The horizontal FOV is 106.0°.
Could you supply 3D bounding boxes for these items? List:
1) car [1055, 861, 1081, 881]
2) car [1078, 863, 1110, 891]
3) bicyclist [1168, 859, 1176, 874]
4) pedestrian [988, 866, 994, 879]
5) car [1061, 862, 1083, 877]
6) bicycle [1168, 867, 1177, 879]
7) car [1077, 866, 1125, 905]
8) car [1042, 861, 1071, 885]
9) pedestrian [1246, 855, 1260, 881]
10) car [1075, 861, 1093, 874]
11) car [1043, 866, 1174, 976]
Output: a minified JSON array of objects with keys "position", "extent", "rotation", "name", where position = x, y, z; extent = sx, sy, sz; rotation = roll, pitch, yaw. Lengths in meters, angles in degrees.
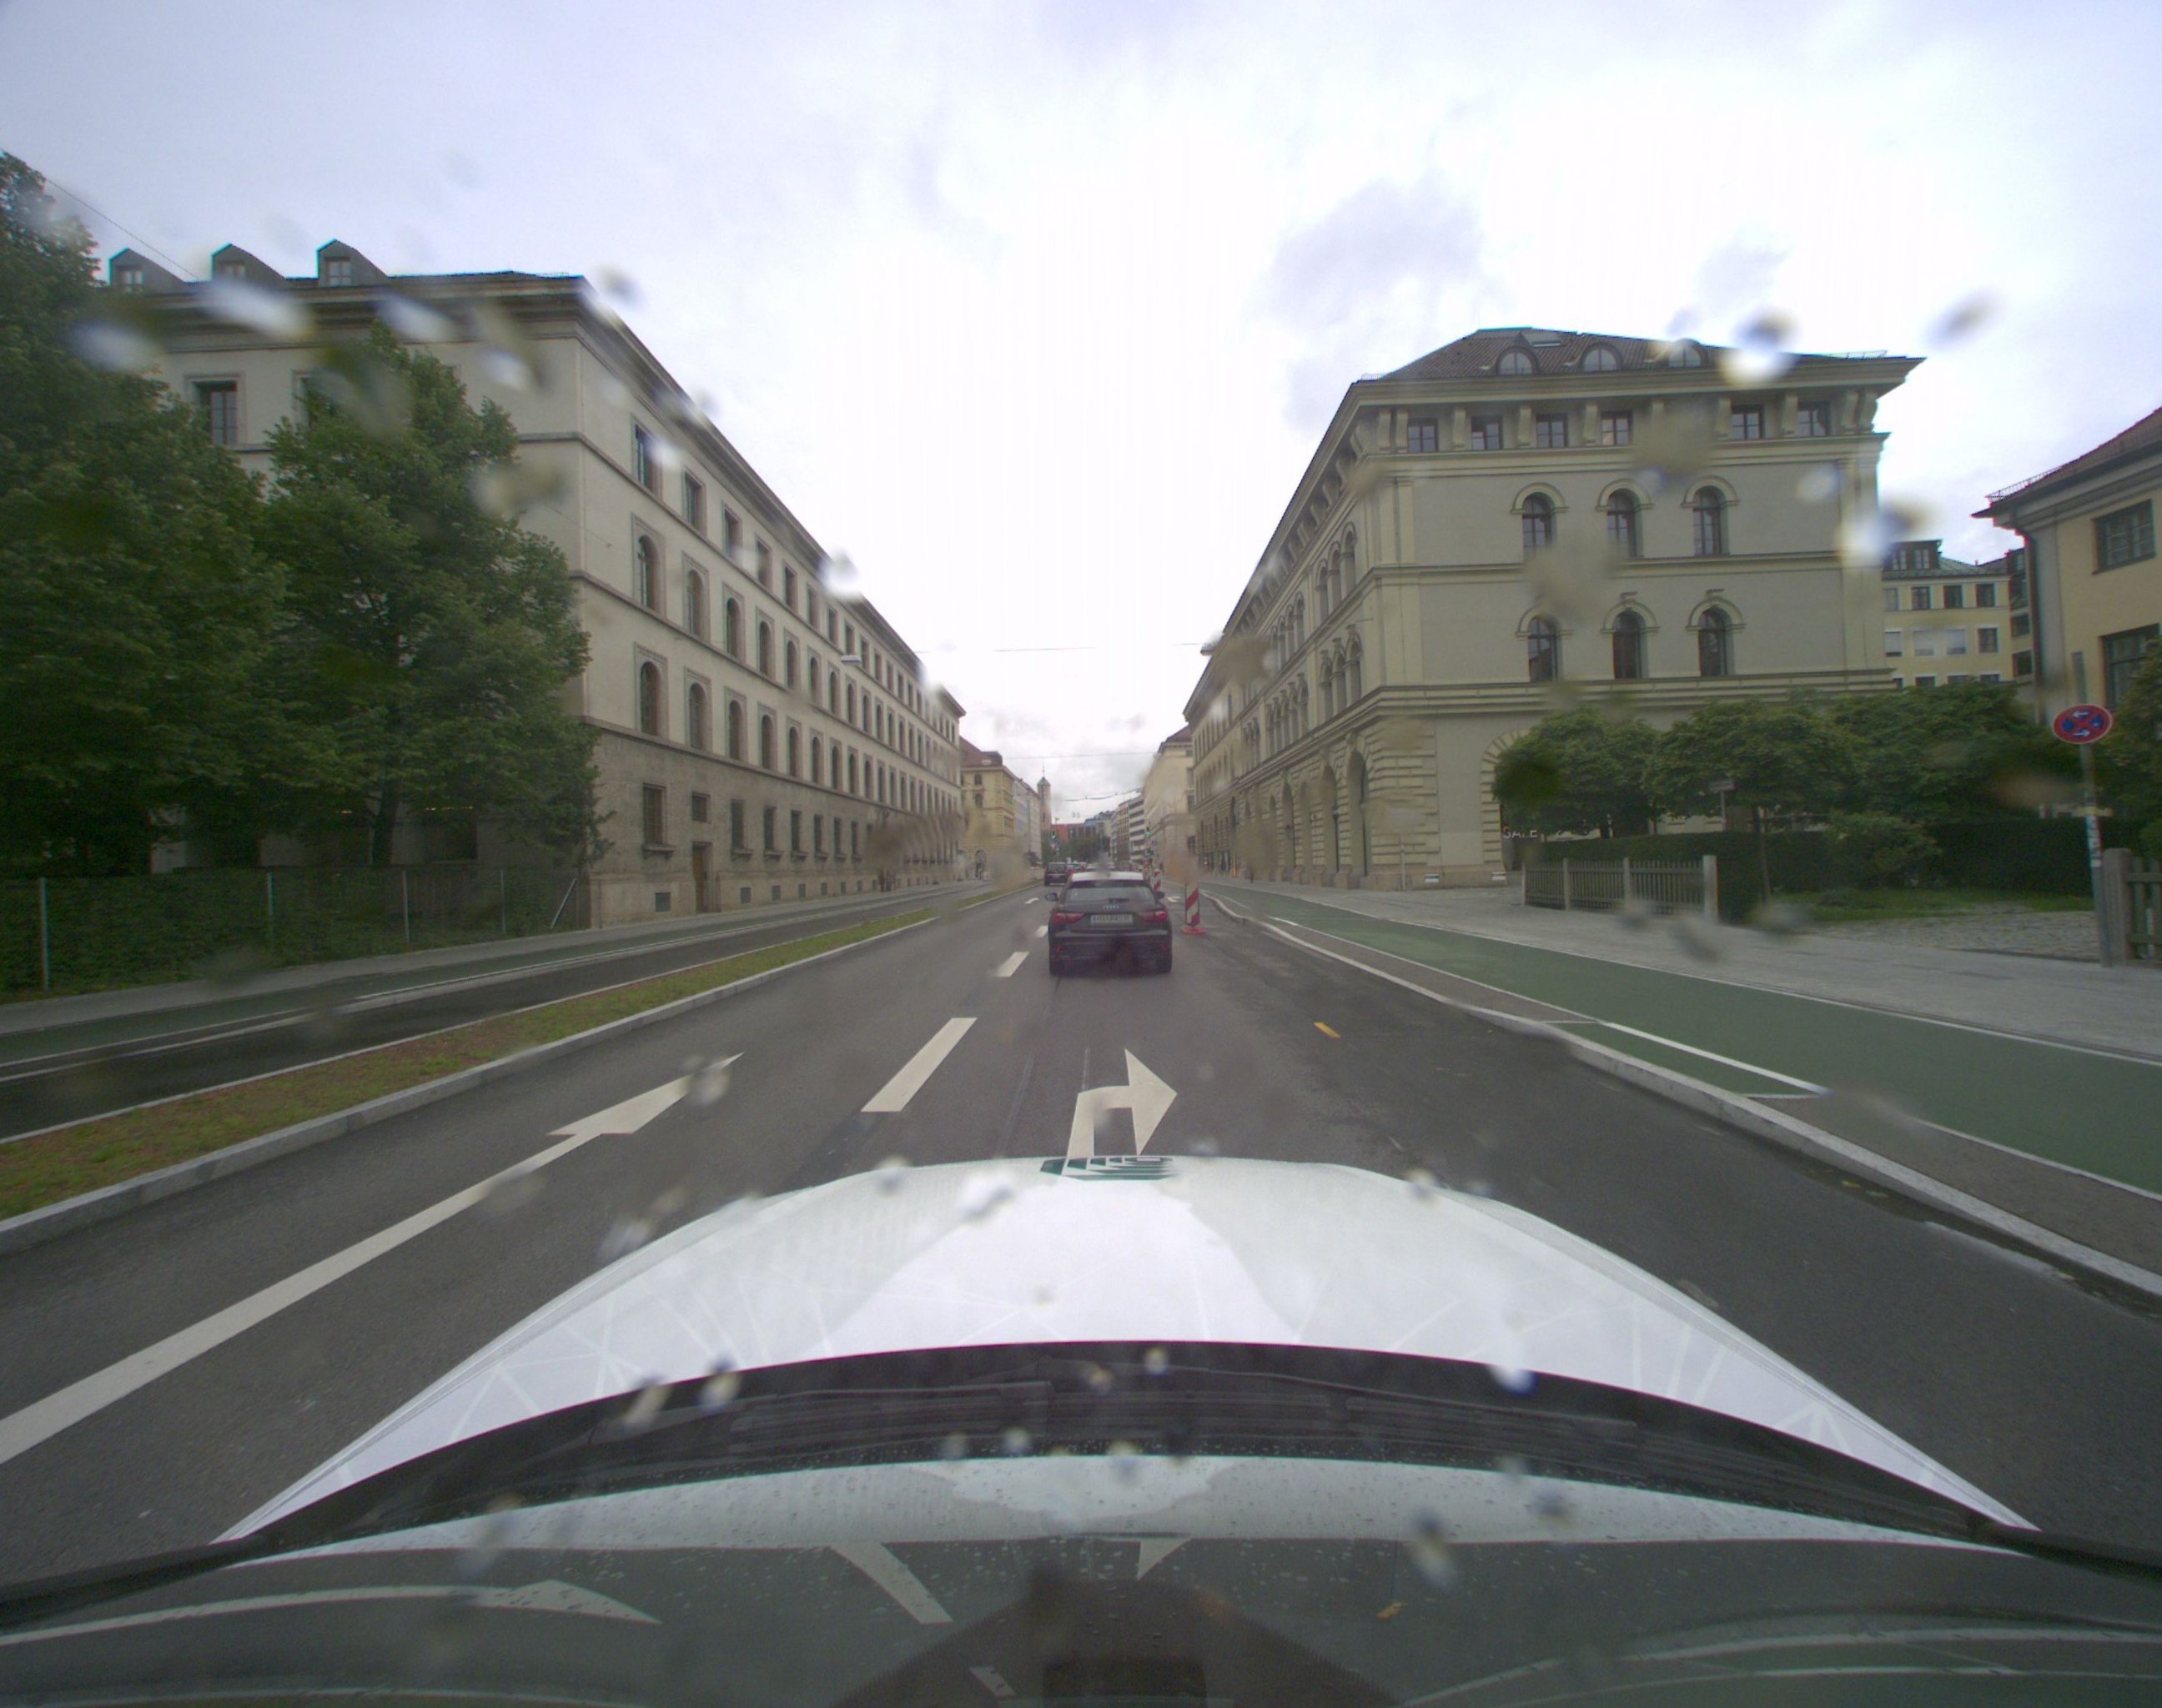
[{"position":[-1.063,1.419,69.982],"extent":[1.986,1.627,4.002],"rotation":[-2,-1,2],"name":"car"},{"position":[0.765,1.269,45.671],"extent":[1.723,1.461,4.001],"rotation":[-1,-1,1],"name":"car"},{"position":[9.119,1.262,81.496],"extent":[0.707,1.500,0.755],"rotation":[-2,-1,3],"name":"bicyclist"},{"position":[-13.160,2.679,119.392],"extent":[0.653,1.805,0.727],"rotation":[-2,-1,1],"name":"pedestrian"},{"position":[-0.862,1.530,81.919],"extent":[1.986,1.444,4.002],"rotation":[-2,-1,2],"name":"car"},{"position":[9.135,1.855,81.491],"extent":[0.725,1.156,2.174],"rotation":[-2,-1,4],"name":"bicycle"},{"position":[0.790,1.171,31.702],"extent":[1.723,1.403,4.001],"rotation":[-1,-1,1],"name":"car"},{"position":[-1.704,1.286,57.176],"extent":[1.758,1.616,4.031],"rotation":[-1,-1,1],"name":"car"},{"position":[10.975,0.913,52.026],"extent":[0.707,1.618,0.754],"rotation":[-2,-1,1],"name":"pedestrian"},{"position":[0.380,1.570,94.153],"extent":[1.986,1.444,4.002],"rotation":[-2,-1,2],"name":"car"},{"position":[0.419,0.913,12.723],"extent":[1.723,1.403,4.001],"rotation":[-1,-1,1],"name":"car"}]
